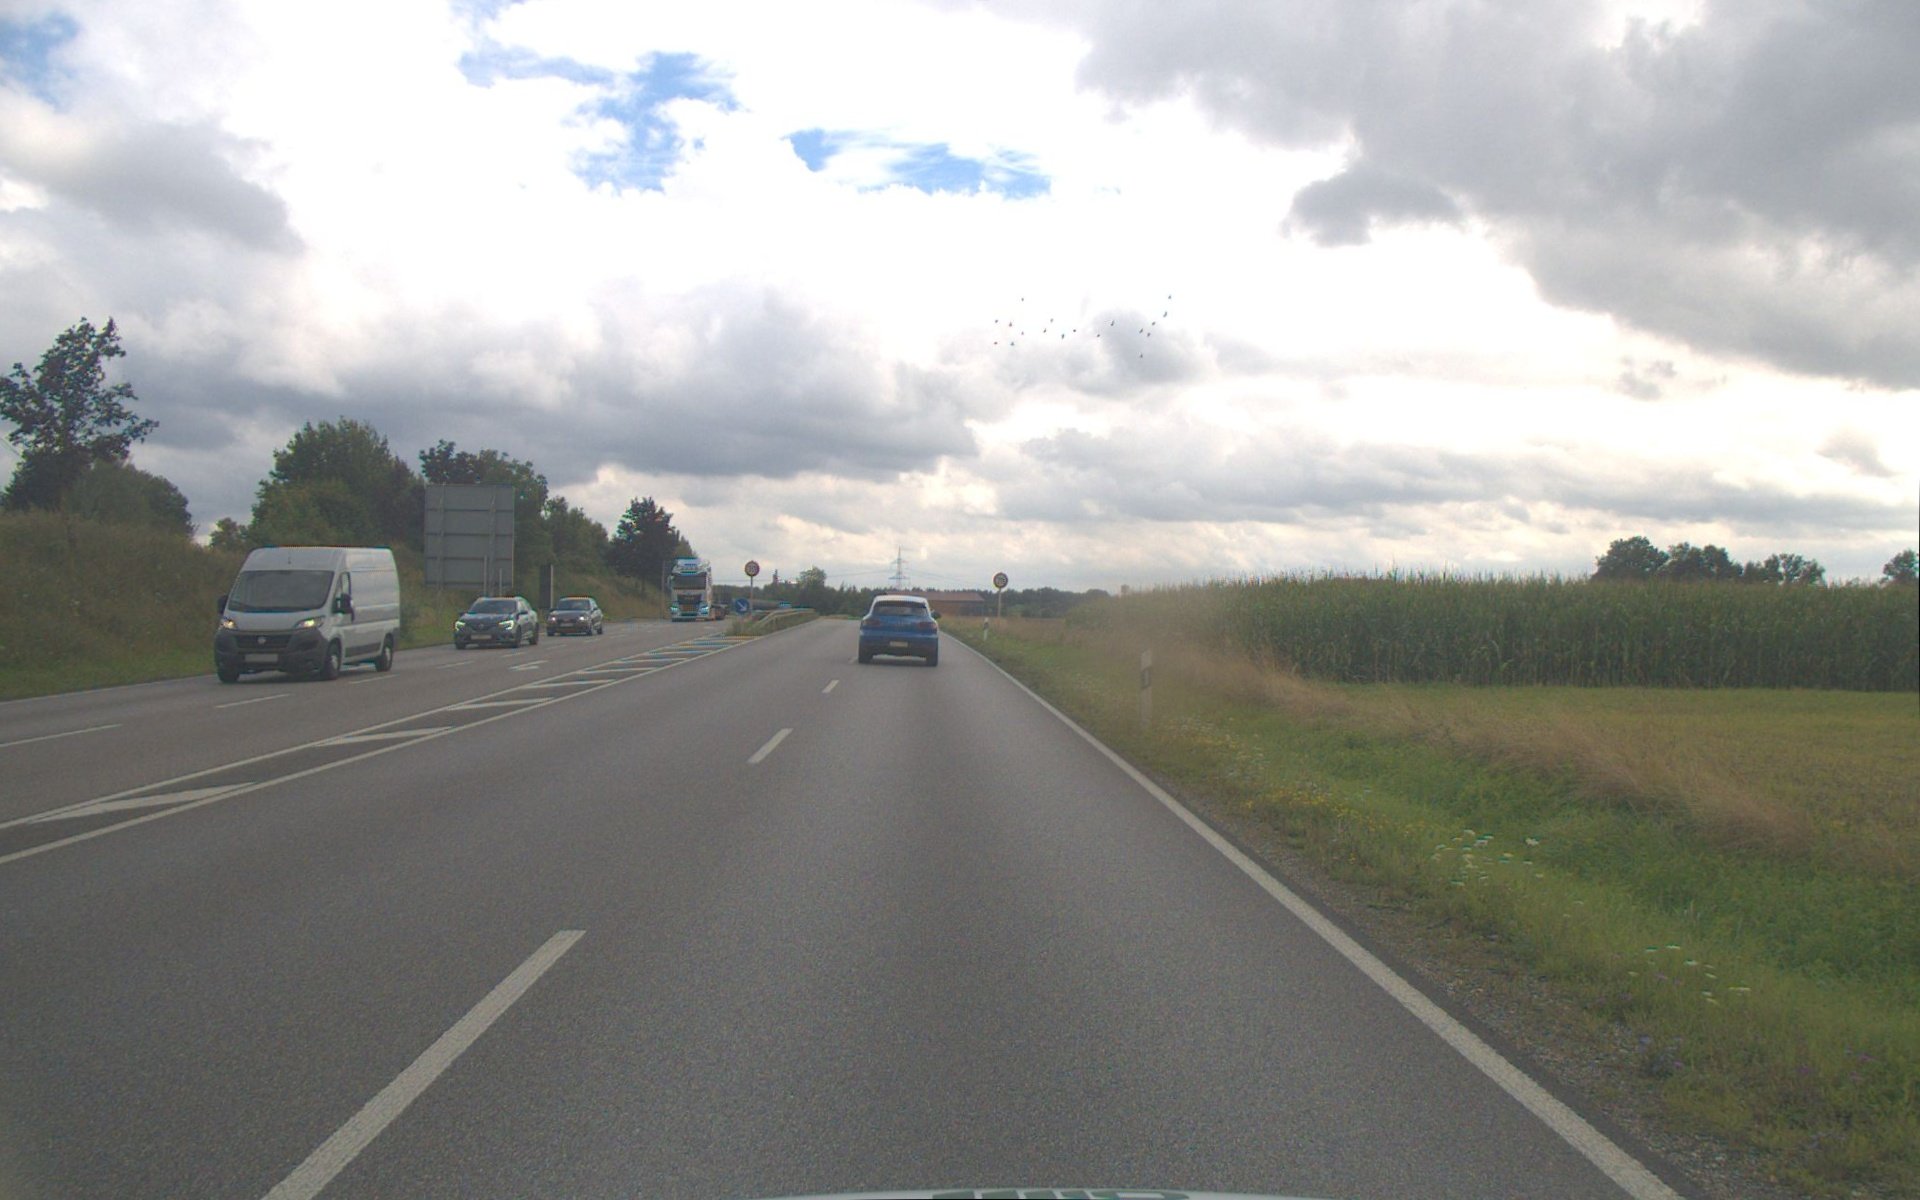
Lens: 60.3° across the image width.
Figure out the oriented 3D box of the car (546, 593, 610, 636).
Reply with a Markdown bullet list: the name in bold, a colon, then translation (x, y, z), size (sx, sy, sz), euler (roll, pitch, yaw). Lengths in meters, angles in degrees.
- **car**: translation (-14.558, 0.513, 63.192), size (1.698, 1.556, 4.191), euler (0, 1, -4)

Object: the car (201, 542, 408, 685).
- **car**: translation (-12.392, 0.205, 31.727), size (1.993, 2.482, 5.631), euler (-1, 1, -3)

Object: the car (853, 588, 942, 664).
- **car**: translation (-1.588, 0.611, 40.517), size (1.993, 1.689, 4.540), euler (2, 0, -4)

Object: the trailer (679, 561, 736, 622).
- **trailer**: translation (-17.519, -0.621, 115.431), size (2.720, 4.016, 12.976), euler (1, 1, -4)

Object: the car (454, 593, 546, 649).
- **car**: translation (-13.613, 0.583, 49.148), size (1.698, 1.556, 4.545), euler (0, 1, -3)

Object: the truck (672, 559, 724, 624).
- **truck**: translation (-17.049, -0.589, 107.850), size (2.747, 4.067, 5.283), euler (1, 0, -3)
